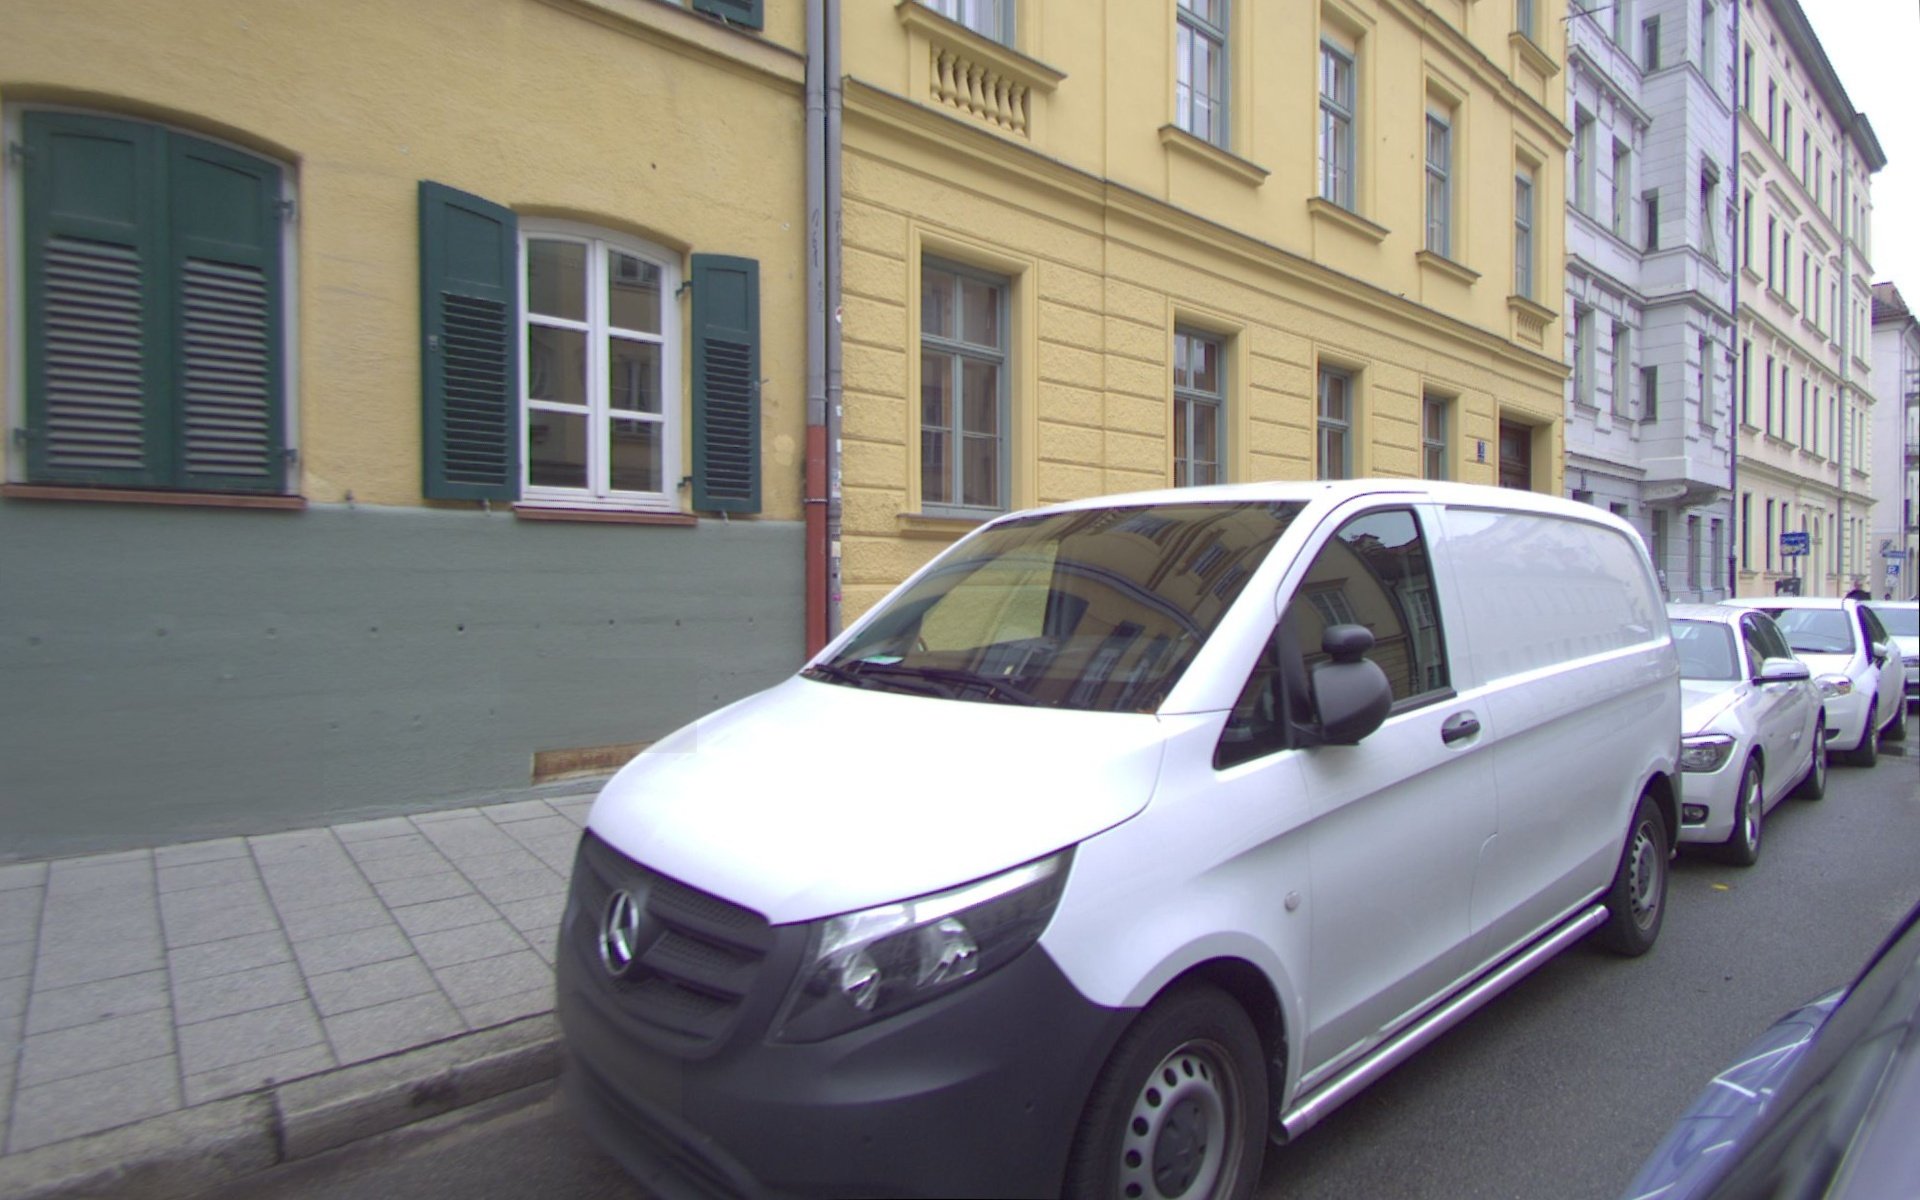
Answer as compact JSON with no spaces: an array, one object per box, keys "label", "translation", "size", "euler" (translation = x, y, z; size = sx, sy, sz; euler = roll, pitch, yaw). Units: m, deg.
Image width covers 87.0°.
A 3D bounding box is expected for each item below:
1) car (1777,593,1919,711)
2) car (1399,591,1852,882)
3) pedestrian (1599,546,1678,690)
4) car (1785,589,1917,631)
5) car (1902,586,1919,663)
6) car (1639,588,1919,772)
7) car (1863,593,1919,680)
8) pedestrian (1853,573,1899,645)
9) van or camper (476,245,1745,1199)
[{"label":"car","translation":[13.266,0.625,14.425],"size":[4.730,1.426,1.711],"euler":[-1,1,-41]},{"label":"car","translation":[4.802,0.658,7.037],"size":[4.136,1.410,1.710],"euler":[-1,1,-43]},{"label":"pedestrian","translation":[9.796,0.231,14.622],"size":[0.696,2.004,0.671],"euler":[-1,5,-40]},{"label":"car","translation":[38.145,0.415,43.394],"size":[1.724,1.625,4.095],"euler":[2,0,-42]},{"label":"car","translation":[22.101,0.500,22.108],"size":[4.388,1.603,1.746],"euler":[-1,1,-41]},{"label":"car","translation":[8.349,0.619,10.135],"size":[4.027,1.472,1.710],"euler":[-1,1,-43]},{"label":"car","translation":[17.568,0.606,18.144],"size":[4.137,1.422,1.710],"euler":[-1,1,-43]},{"label":"pedestrian","translation":[22.620,0.206,24.993],"size":[0.987,1.738,0.720],"euler":[-2,2,-42]},{"label":"van or camper","translation":[1.134,0.427,3.738],"size":[4.990,1.895,1.837],"euler":[0,1,-41]}]
